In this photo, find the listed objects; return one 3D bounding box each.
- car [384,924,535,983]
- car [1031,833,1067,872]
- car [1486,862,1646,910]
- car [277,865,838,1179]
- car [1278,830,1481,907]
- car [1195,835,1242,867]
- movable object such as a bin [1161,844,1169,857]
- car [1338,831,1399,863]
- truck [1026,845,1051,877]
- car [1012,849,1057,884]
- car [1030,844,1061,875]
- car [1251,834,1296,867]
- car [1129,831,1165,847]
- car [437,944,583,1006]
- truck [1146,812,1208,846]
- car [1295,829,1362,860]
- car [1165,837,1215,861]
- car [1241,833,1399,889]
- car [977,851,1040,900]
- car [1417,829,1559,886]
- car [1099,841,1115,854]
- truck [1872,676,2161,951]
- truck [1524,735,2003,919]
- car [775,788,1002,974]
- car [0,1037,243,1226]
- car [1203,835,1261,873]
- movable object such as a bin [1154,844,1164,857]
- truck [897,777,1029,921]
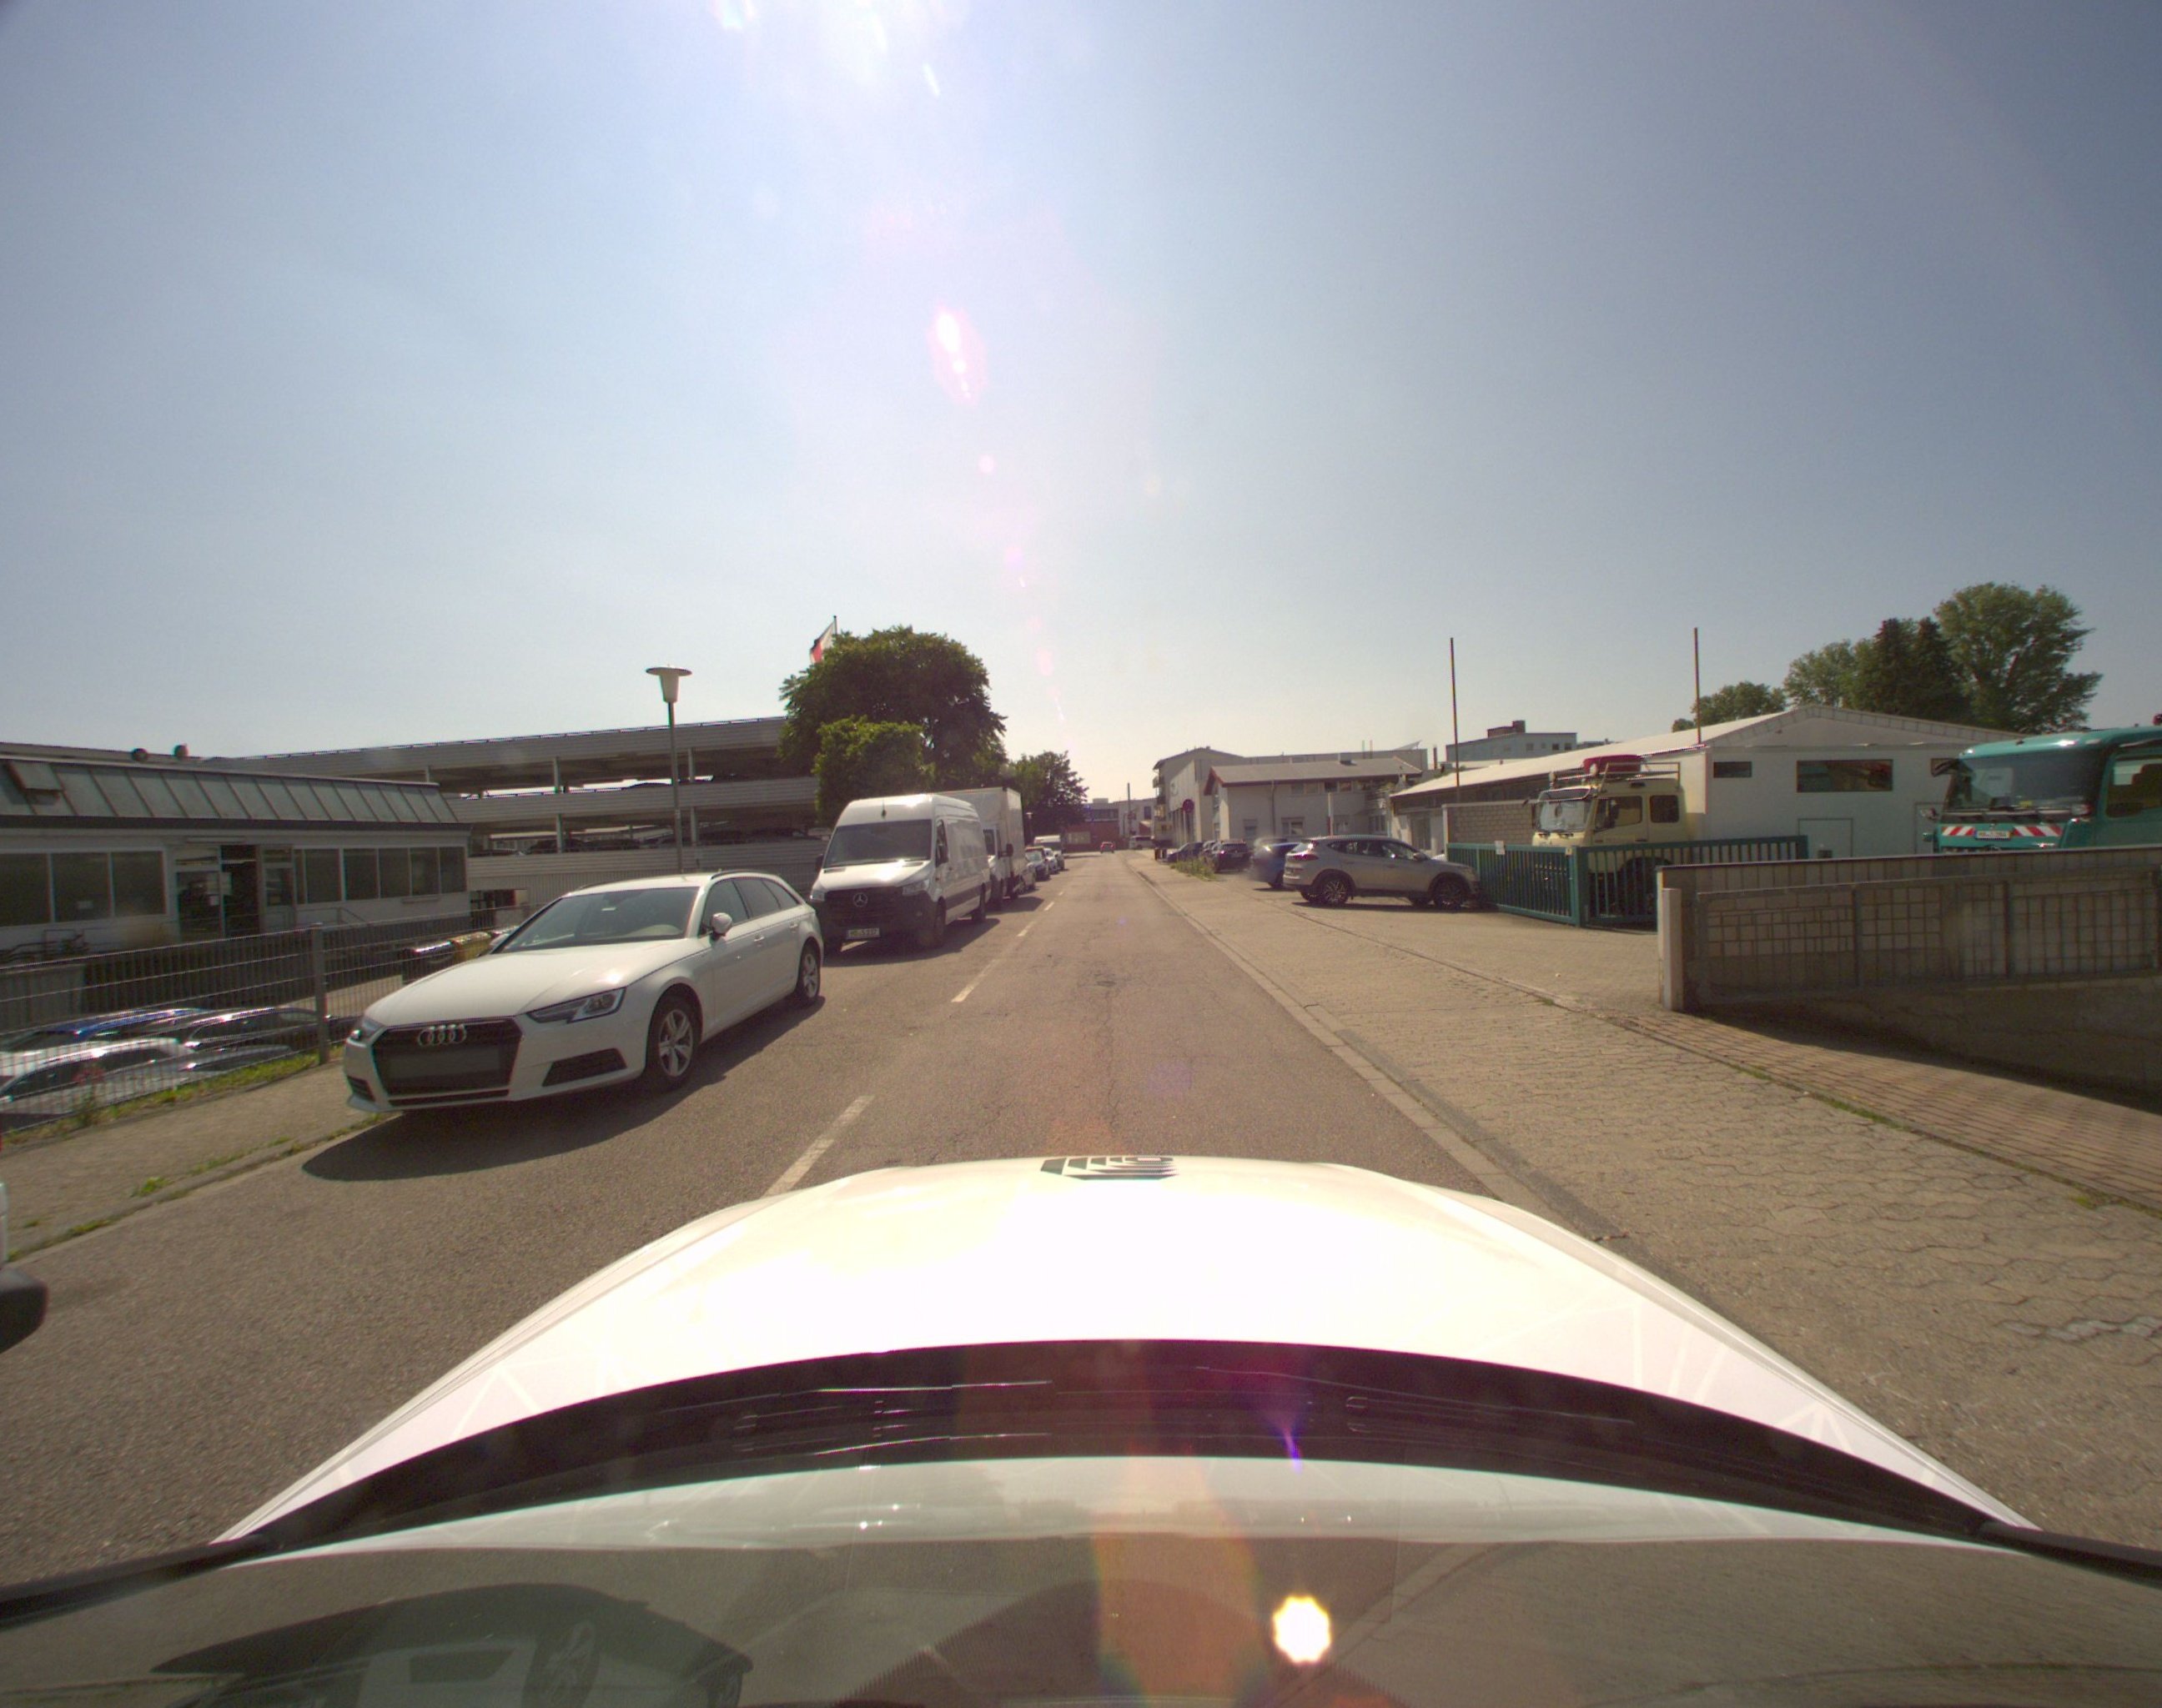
[{"bbox_3d":[-22.055,3.490,29.133,1.984,1.442,4.006,-3,1,5],"label":"car"},{"bbox_3d":[-2.067,-0.071,54.436,1.999,2.366,5.228,-5,-1,0],"label":"car"},{"bbox_3d":[10.984,0.709,18.543,2.885,1.003,1.288,0,1,2],"label":"car"},{"bbox_3d":[-3.574,0.963,6.752,1.709,1.543,4.399,-5,0,-1],"label":"car"},{"bbox_3d":[6.960,0.320,19.295,4.186,1.682,1.767,1,0,0],"label":"car"},{"bbox_3d":[7.403,-0.195,44.102,1.805,1.558,4.294,-3,1,1],"label":"car"},{"bbox_3d":[6.608,-0.300,64.023,0.510,0.946,0.489,-4,1,13],"label":"movable object such as a bin"},{"bbox_3d":[13.374,-0.366,38.073,1.634,1.324,4.106,-3,1,4],"label":"car"},{"bbox_3d":[-2.353,0.382,45.657,1.135,1.622,3.140,-5,1,0],"label":"truck"},{"bbox_3d":[-2.237,0.570,39.871,1.698,1.462,4.116,-5,1,2],"label":"car"},{"bbox_3d":[-2.163,0.305,49.265,1.701,1.624,3.969,-5,1,-3],"label":"car"},{"bbox_3d":[9.749,-0.219,41.451,1.751,1.594,3.624,0,1,5],"label":"car"},{"bbox_3d":[9.307,-2.169,115.581,4.666,1.957,1.905,-4,1,-17],"label":"car"},{"bbox_3d":[-19.628,4.118,28.221,1.984,1.442,4.006,0,1,5],"label":"car"},{"bbox_3d":[12.582,-3.244,107.090,7.347,3.644,2.764,-6,1,-5],"label":"truck"},{"bbox_3d":[13.288,-0.500,43.979,1.759,1.495,4.136,-5,1,-9],"label":"car"},{"bbox_3d":[7.473,-0.346,55.990,3.240,1.398,1.674,-3,1,2],"label":"car"},{"bbox_3d":[7.364,0.199,25.416,4.338,1.441,1.892,-3,1,0],"label":"car"},{"bbox_3d":[-2.595,0.727,30.019,1.735,1.521,4.312,-3,1,1],"label":"car"},{"bbox_3d":[11.920,0.064,24.232,1.881,1.441,4.453,-3,1,-1],"label":"car"},{"bbox_3d":[3.557,-0.918,111.029,1.885,1.685,3.955,-3,0,-2],"label":"car"},{"bbox_3d":[17.494,-0.724,12.085,8.238,3.611,2.957,-3,0,4],"label":"truck"},{"bbox_3d":[13.385,-0.520,16.446,7.490,3.423,2.528,0,1,1],"label":"truck"},{"bbox_3d":[-3.201,0.389,15.539,2.159,2.595,6.925,-4,0,3],"label":"car"},{"bbox_3d":[-16.050,4.275,12.433,1.854,1.930,4.356,-2,0,2],"label":"car"},{"bbox_3d":[7.064,-0.041,38.550,1.852,1.567,4.953,-3,1,1],"label":"car"},{"bbox_3d":[6.102,-0.291,63.621,0.562,0.946,0.561,-3,1,35],"label":"movable object such as a bin"},{"bbox_3d":[-3.097,-0.133,23.468,2.678,3.366,7.126,-4,0,-1],"label":"truck"}]
